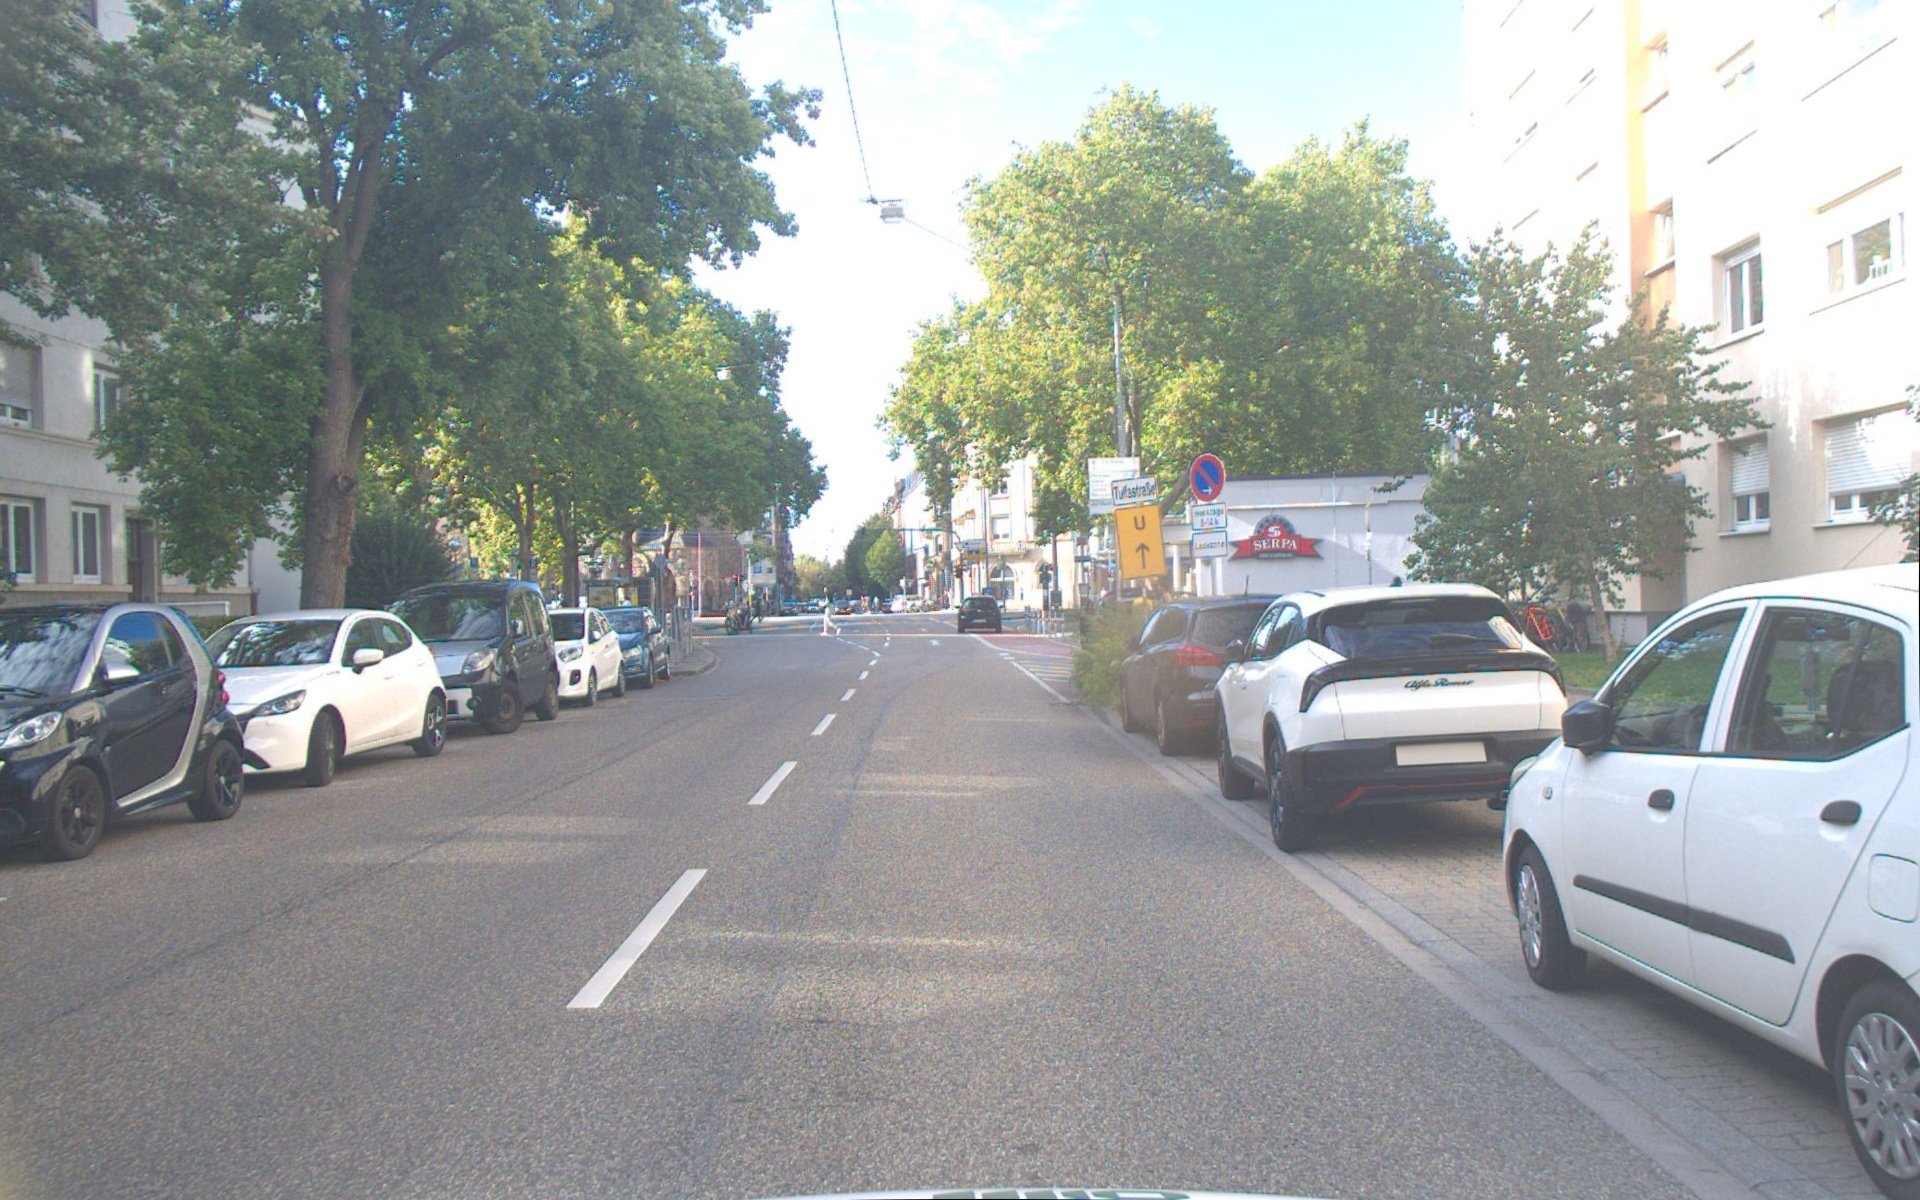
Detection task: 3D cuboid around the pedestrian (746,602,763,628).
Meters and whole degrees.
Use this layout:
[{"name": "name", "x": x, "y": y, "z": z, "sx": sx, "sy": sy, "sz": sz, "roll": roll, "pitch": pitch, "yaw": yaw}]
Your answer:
[{"name": "pedestrian", "x": -13.664, "y": 0.967, "z": 109.963, "sx": 0.764, "sy": 1.691, "sz": 0.779, "roll": -2, "pitch": 0, "yaw": 18}]

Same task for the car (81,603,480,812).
[{"name": "car", "x": -5.995, "y": 0.857, "z": 15.229, "sx": 1.659, "sy": 1.519, "sz": 4.334, "roll": -3, "pitch": 0, "yaw": 2}]

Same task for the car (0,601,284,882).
[{"name": "car", "x": -5.871, "y": 0.844, "z": 10.843, "sx": 1.521, "sy": 1.546, "sz": 3.016, "roll": -4, "pitch": 0, "yaw": 0}]

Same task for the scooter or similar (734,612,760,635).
[{"name": "scooter or similar", "x": -9.233, "y": 1.017, "z": 71.729, "sx": 0.788, "sy": 0.939, "sz": 1.015, "roll": -2, "pitch": 0, "yaw": 12}]

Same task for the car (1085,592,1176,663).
[{"name": "car", "x": 3.826, "y": 0.587, "z": 37.673, "sx": 1.724, "sy": 1.436, "sz": 4.234, "roll": -3, "pitch": 0, "yaw": 2}]

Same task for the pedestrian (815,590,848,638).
[{"name": "pedestrian", "x": -4.784, "y": 0.521, "z": 61.594, "sx": 1.057, "sy": 1.784, "sz": 0.914, "roll": -1, "pitch": 0, "yaw": -18}]

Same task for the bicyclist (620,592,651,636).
[{"name": "bicyclist", "x": -12.809, "y": 0.550, "z": 65.279, "sx": 1.088, "sy": 1.721, "sz": 0.814, "roll": -1, "pitch": 0, "yaw": -4}]

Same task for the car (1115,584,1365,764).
[{"name": "car", "x": 2.728, "y": 0.663, "z": 17.066, "sx": 1.656, "sy": 1.555, "sz": 4.236, "roll": -2, "pitch": 0, "yaw": -2}]

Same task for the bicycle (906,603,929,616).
[{"name": "bicycle", "x": -3.819, "y": 0.822, "z": 149.357, "sx": 1.989, "sy": 1.101, "sz": 0.618, "roll": -2, "pitch": 0, "yaw": -15}]

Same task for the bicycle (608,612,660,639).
[{"name": "bicycle", "x": -12.852, "y": 0.993, "z": 65.251, "sx": 1.882, "sy": 1.011, "sz": 0.763, "roll": -1, "pitch": 0, "yaw": -3}]

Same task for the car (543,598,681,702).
[{"name": "car", "x": -6.293, "y": 0.860, "z": 30.289, "sx": 1.763, "sy": 1.648, "sz": 3.801, "roll": -4, "pitch": 0, "yaw": -3}]

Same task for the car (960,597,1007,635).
[{"name": "car", "x": 0.907, "y": 0.623, "z": 65.752, "sx": 1.716, "sy": 1.438, "sz": 3.999, "roll": -1, "pitch": 0, "yaw": -2}]

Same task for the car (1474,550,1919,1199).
[{"name": "car", "x": 3.006, "y": 0.647, "z": 5.253, "sx": 1.520, "sy": 1.584, "sz": 3.467, "roll": -3, "pitch": 0, "yaw": -1}]

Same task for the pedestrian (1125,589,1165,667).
[{"name": "pedestrian", "x": 3.840, "y": 0.572, "z": 34.366, "sx": 0.639, "sy": 1.565, "sz": 0.743, "roll": -3, "pitch": 0, "yaw": -1}]

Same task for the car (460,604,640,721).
[{"name": "car", "x": -6.270, "y": 0.902, "z": 25.713, "sx": 1.763, "sy": 1.519, "sz": 3.803, "roll": -4, "pitch": 0, "yaw": 0}]

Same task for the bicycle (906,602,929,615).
[{"name": "bicycle", "x": -3.886, "y": 0.804, "z": 149.986, "sx": 1.989, "sy": 1.101, "sz": 0.628, "roll": -2, "pitch": 0, "yaw": -15}]

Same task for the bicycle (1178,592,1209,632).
[{"name": "bicycle", "x": 7.483, "y": 0.370, "z": 53.084, "sx": 0.753, "sy": 1.227, "sz": 1.816, "roll": -3, "pitch": 0, "yaw": 2}]

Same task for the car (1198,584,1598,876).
[{"name": "car", "x": 2.713, "y": 0.705, "z": 11.225, "sx": 1.655, "sy": 1.555, "sz": 4.238, "roll": -2, "pitch": 0, "yaw": 2}]

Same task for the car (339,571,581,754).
[{"name": "car", "x": -6.006, "y": 0.688, "z": 20.385, "sx": 1.688, "sy": 1.915, "sz": 4.190, "roll": -4, "pitch": 0, "yaw": -1}]

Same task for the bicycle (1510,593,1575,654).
[{"name": "bicycle", "x": 10.491, "y": 0.413, "z": 29.825, "sx": 0.511, "sy": 1.074, "sz": 1.552, "roll": -1, "pitch": 0, "yaw": -4}]

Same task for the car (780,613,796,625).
[{"name": "car", "x": -19.169, "y": 2.121, "z": 184.037, "sx": 1.519, "sy": 1.251, "sz": 3.586, "roll": -1, "pitch": 0, "yaw": -2}]

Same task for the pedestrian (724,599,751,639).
[{"name": "pedestrian", "x": -9.492, "y": 0.811, "z": 70.686, "sx": 0.796, "sy": 1.683, "sz": 1.077, "roll": -2, "pitch": 0, "yaw": 12}]

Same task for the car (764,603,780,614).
[{"name": "car", "x": -21.984, "y": 0.944, "z": 193.247, "sx": 1.519, "sy": 1.251, "sz": 3.586, "roll": -1, "pitch": 0, "yaw": -2}]

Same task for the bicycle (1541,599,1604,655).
[{"name": "bicycle", "x": 11.034, "y": 0.471, "z": 29.840, "sx": 0.468, "sy": 0.980, "sz": 1.552, "roll": -1, "pitch": 0, "yaw": -4}]

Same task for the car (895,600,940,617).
[{"name": "car", "x": -3.906, "y": 0.770, "z": 151.833, "sx": 3.912, "sy": 1.445, "sz": 1.996, "roll": -2, "pitch": 0, "yaw": -8}]

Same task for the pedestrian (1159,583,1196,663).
[{"name": "pedestrian", "x": 4.605, "y": 0.482, "z": 35.058, "sx": 0.639, "sy": 1.674, "sz": 0.743, "roll": -1, "pitch": 0, "yaw": -1}]

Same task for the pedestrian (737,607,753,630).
[{"name": "pedestrian", "x": -14.021, "y": 1.196, "z": 107.747, "sx": 0.765, "sy": 1.457, "sz": 0.731, "roll": -2, "pitch": 0, "yaw": 22}]
